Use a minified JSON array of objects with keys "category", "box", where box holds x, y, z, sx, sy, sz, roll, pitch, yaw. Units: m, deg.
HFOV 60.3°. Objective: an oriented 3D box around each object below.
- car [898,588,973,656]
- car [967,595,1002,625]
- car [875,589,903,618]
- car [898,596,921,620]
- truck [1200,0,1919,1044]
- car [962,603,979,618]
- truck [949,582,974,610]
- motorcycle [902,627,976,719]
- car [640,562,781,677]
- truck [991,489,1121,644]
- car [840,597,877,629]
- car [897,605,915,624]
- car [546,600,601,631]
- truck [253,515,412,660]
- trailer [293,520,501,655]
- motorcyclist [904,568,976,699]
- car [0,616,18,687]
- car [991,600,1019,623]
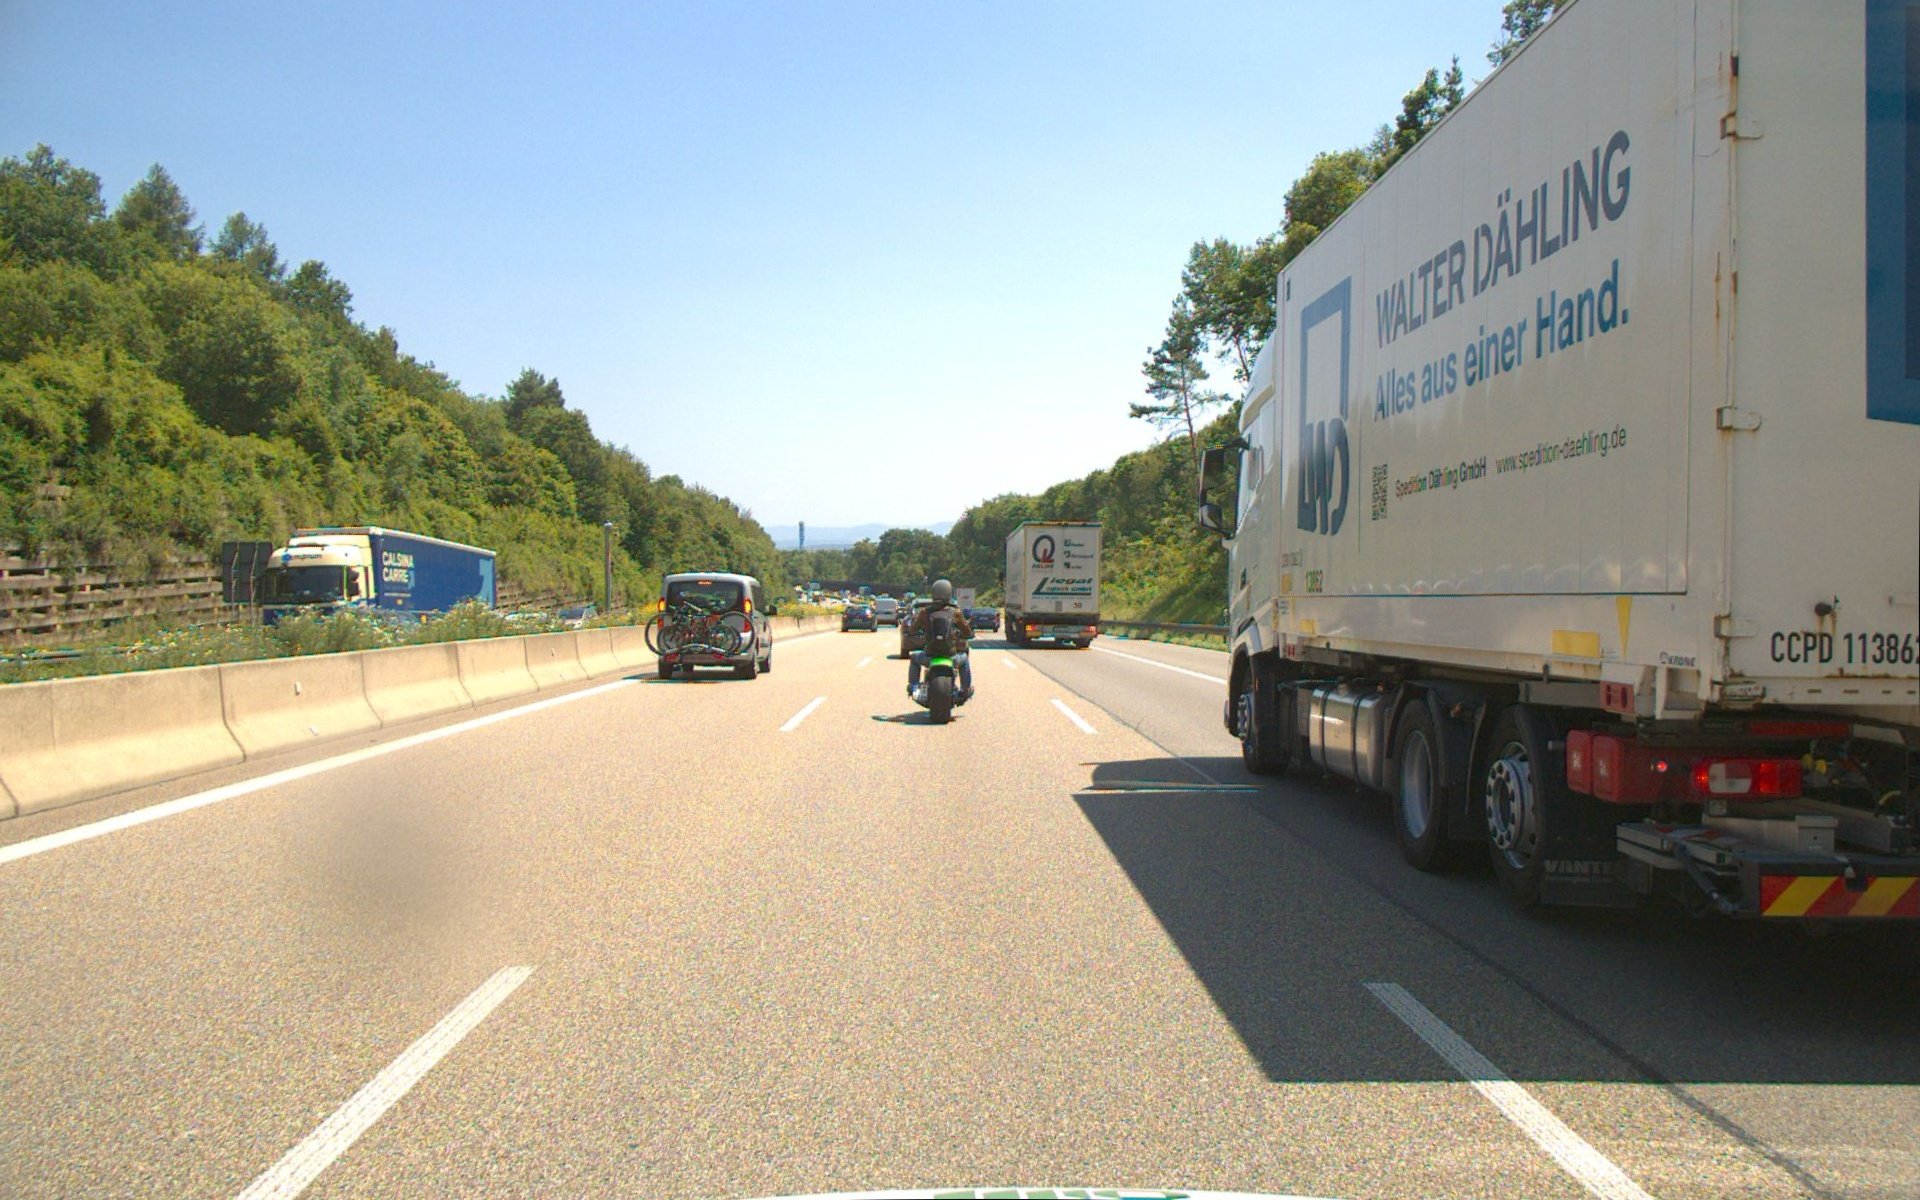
[{"category":"car","box":[-0.658,0.527,42.686,1.808,1.584,4.438,1,1,-1]},{"category":"car","box":[1.361,0.566,93.638,1.794,1.585,4.119,1,1,-1]},{"category":"car","box":[-4.832,0.212,113.567,1.794,1.842,4.119,1,1,-1]},{"category":"car","box":[-4.080,0.606,133.614,1.794,1.842,4.119,1,1,-1]},{"category":"truck","box":[3.794,-0.682,10.667,2.626,4.130,10.623,1,1,-2]},{"category":"car","box":[1.180,1.211,187.748,1.794,1.585,4.119,1,1,-1]},{"category":"truck","box":[0.159,-0.509,210.217,3.005,3.405,9.650,2,1,-1]},{"category":"motorcycle","box":[-0.241,0.853,19.996,0.844,0.999,2.130,1,0,0]},{"category":"car","box":[-4.463,0.315,30.367,1.860,1.880,5.481,1,0,-1]},{"category":"truck","box":[3.203,-1.163,61.144,3.315,4.800,17.705,2,1,-1]},{"category":"car","box":[-5.340,0.653,87.243,1.722,1.570,4.394,1,1,-1]},{"category":"car","box":[-5.574,1.454,171.038,1.794,1.842,4.119,1,1,-1]},{"category":"car","box":[-19.464,0.751,83.459,1.624,1.478,4.922,0,1,0]},{"category":"truck","box":[-18.772,-0.393,49.866,2.626,4.101,5.930,0,1,-1]},{"category":"trailer","box":[-18.943,-0.466,56.974,2.626,4.085,14.185,0,1,-1]},{"category":"motorcyclist","box":[-0.239,0.397,19.995,0.838,1.541,0.914,1,0,0]},{"category":"car","box":[-22.161,1.198,35.174,1.748,1.552,4.372,-1,1,-1]},{"category":"car","box":[3.213,0.816,118.549,1.794,1.553,4.026,1,1,-1]}]
